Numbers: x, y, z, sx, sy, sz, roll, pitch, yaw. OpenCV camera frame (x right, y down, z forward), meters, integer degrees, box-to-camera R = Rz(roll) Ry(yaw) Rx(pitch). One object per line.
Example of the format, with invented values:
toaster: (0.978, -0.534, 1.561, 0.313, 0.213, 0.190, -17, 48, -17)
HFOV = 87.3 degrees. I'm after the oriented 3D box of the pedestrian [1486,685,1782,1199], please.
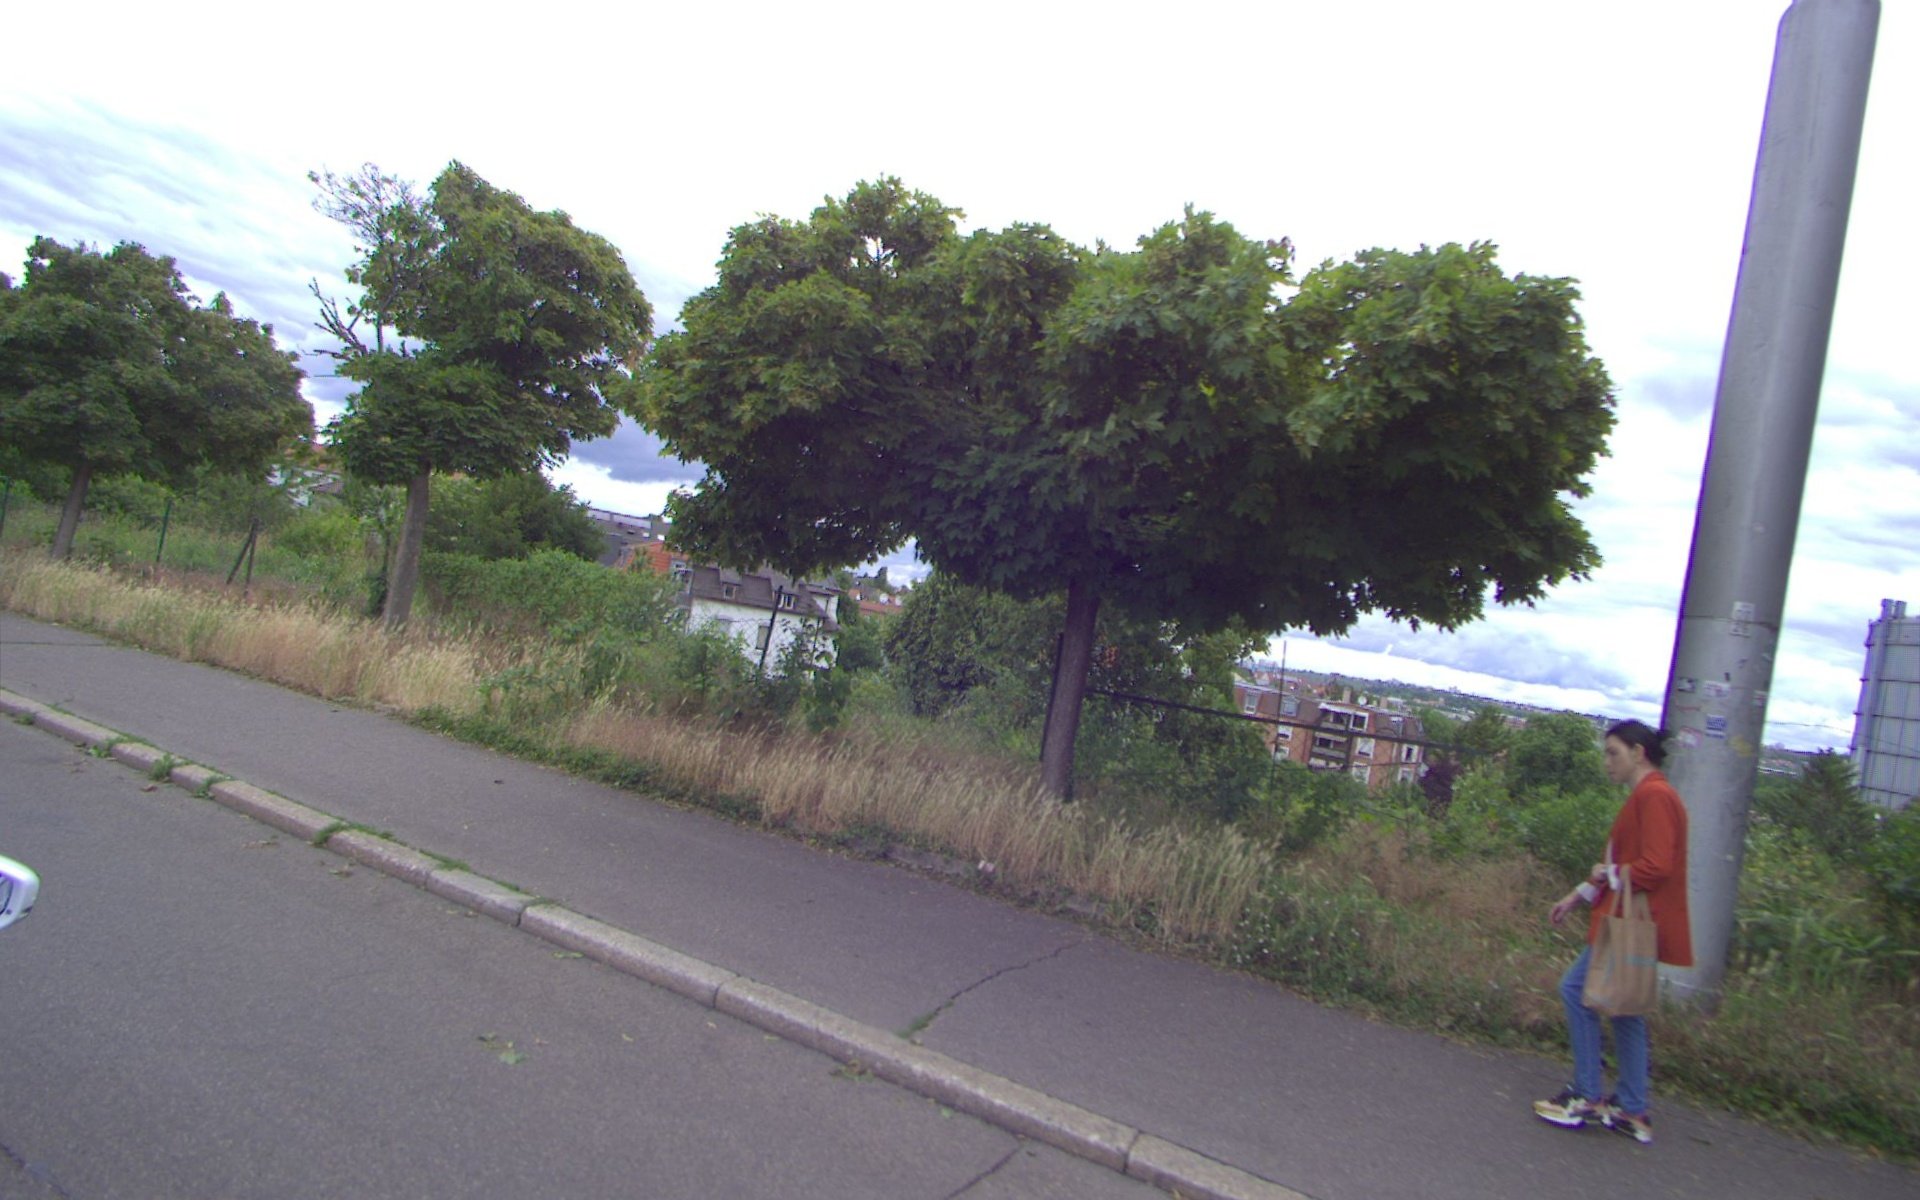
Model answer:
pedestrian: (2.506, 1.198, 3.835, 0.706, 1.639, 0.716, 7, -1, 29)
